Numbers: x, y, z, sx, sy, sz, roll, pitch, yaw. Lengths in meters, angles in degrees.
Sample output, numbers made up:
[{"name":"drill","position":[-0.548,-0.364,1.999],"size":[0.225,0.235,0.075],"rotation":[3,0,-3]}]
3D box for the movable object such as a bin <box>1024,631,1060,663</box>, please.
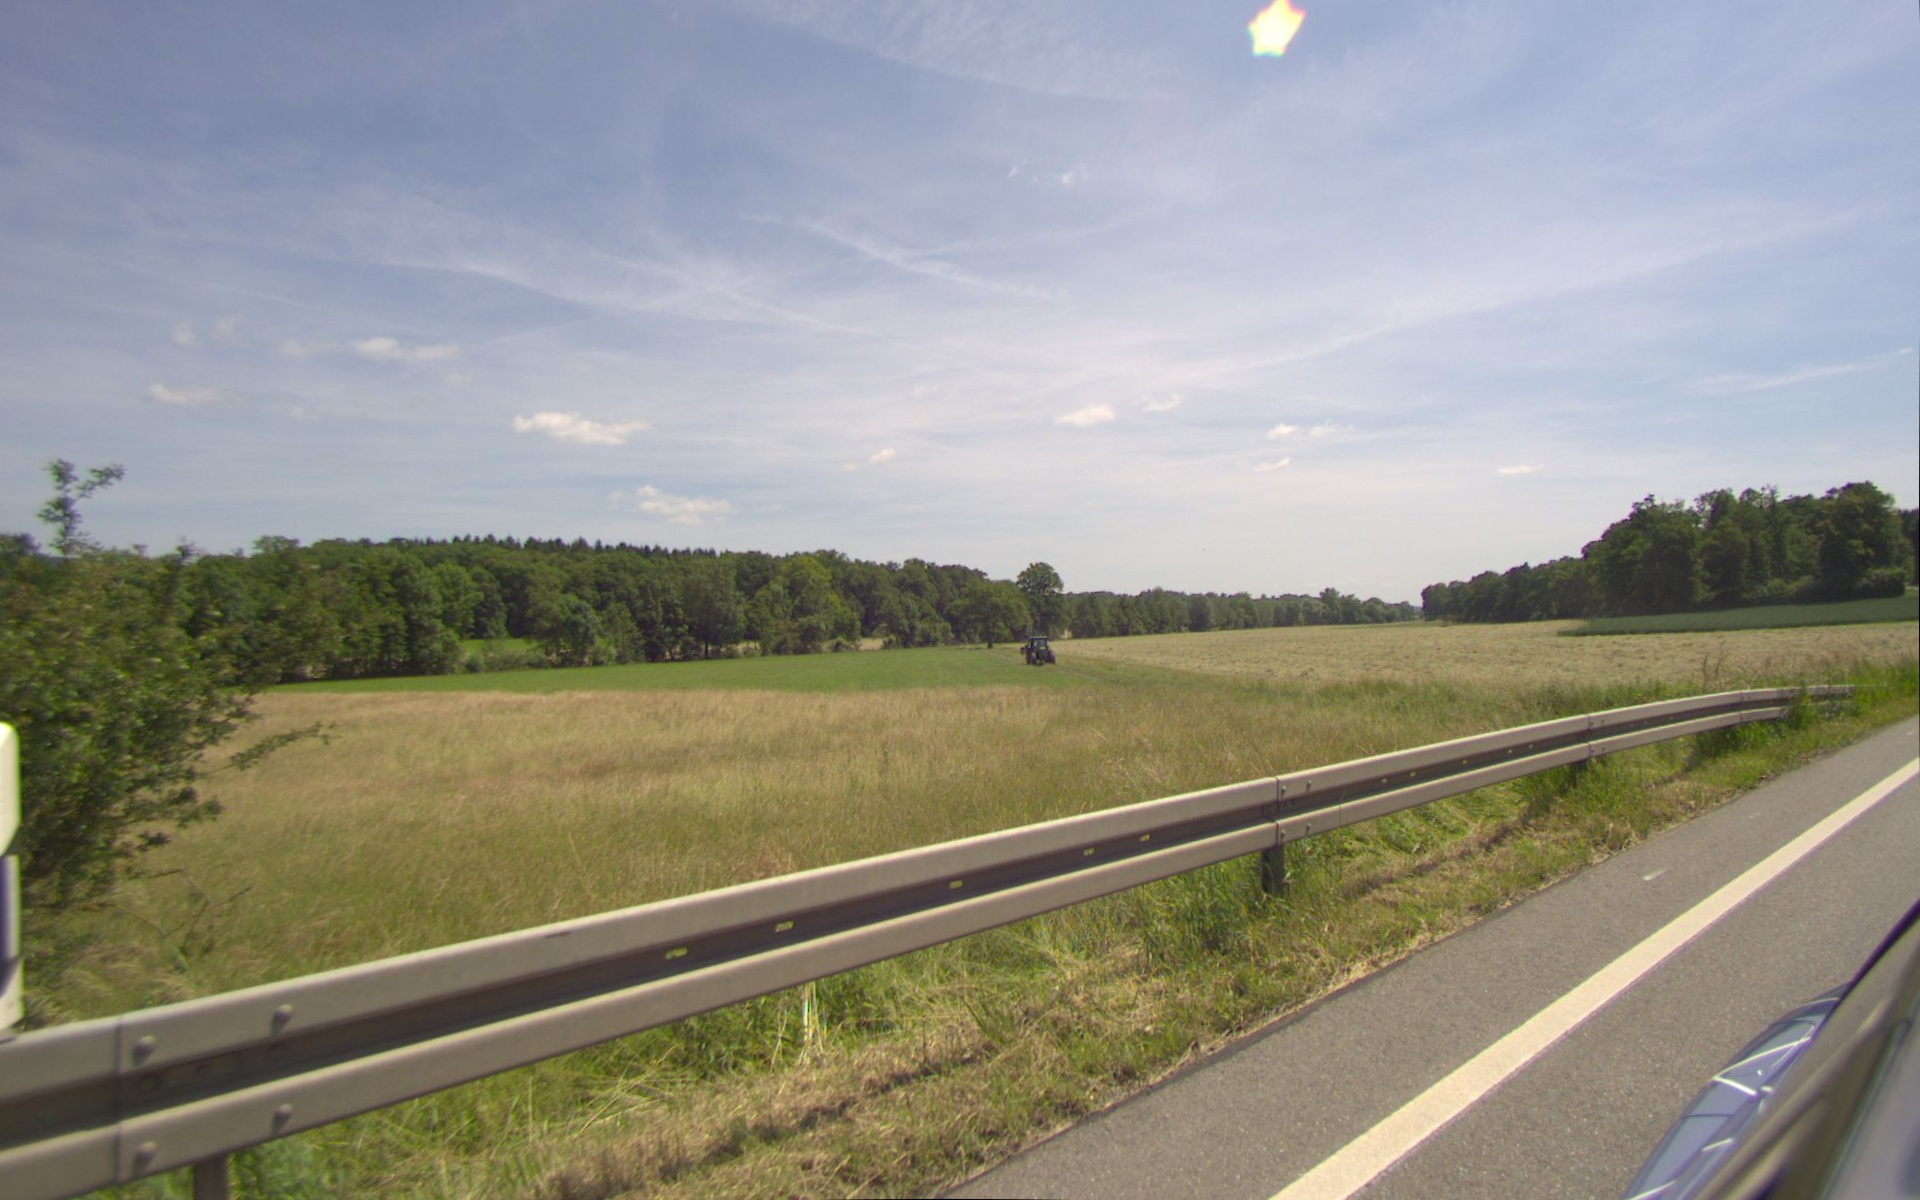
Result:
[{"name":"movable object such as a bin","position":[7.854,4.492,97.533],"size":[1.913,2.907,6.234],"rotation":[-1,-2,-9]}]
